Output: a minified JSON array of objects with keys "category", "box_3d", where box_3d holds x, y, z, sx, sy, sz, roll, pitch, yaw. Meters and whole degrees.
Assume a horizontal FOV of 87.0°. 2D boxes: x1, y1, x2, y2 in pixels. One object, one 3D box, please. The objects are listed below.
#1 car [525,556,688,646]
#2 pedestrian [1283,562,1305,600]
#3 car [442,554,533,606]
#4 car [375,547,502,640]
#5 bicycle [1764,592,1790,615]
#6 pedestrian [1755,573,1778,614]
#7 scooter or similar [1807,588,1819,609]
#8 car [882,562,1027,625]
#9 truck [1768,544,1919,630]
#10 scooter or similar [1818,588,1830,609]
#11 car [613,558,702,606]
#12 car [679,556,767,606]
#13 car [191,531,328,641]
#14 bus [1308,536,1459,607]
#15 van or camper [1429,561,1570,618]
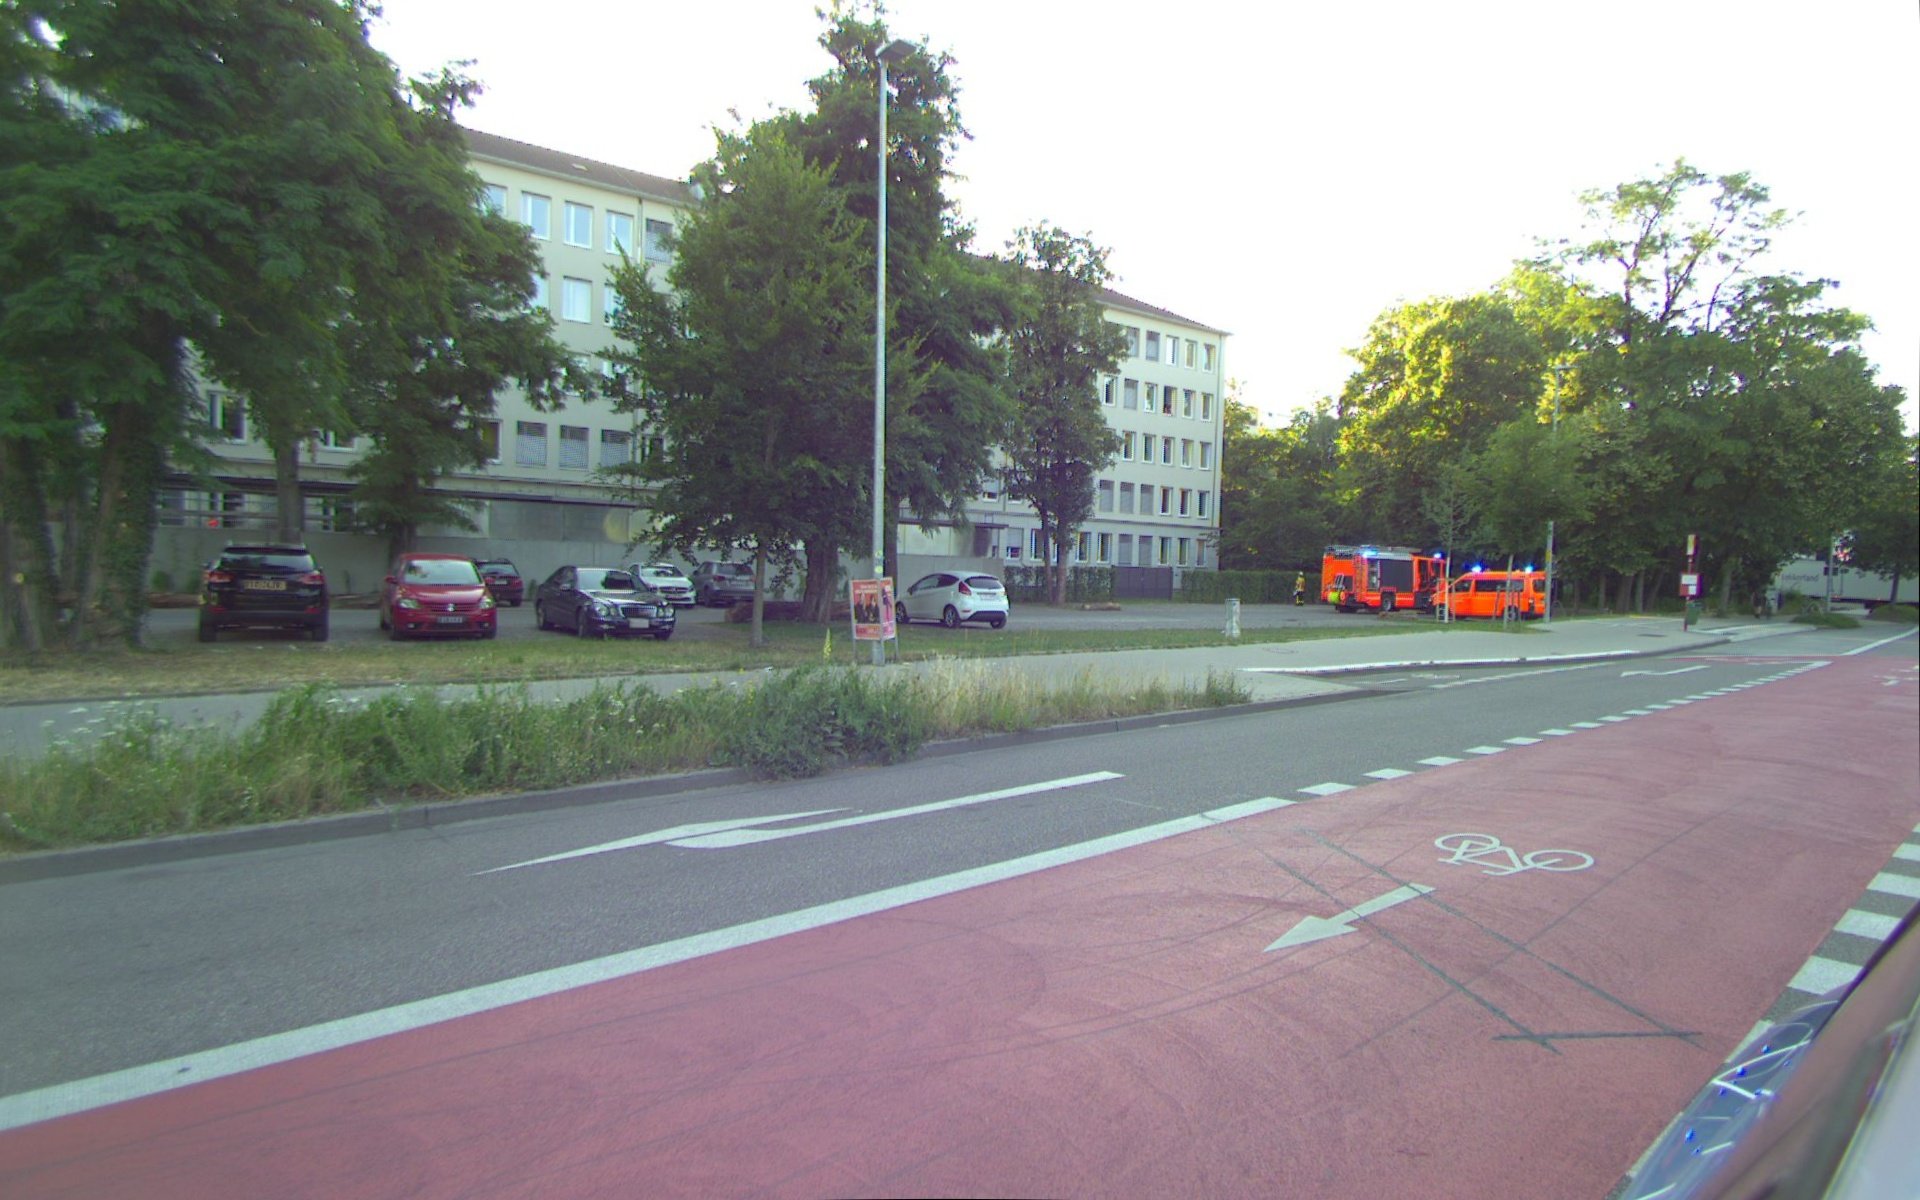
[{"category":"car","box_3d":[-7.444,-0.085,21.015,1.866,1.465,4.584,-2,6,-37]},{"category":"pedestrian","box_3d":[18.386,-1.041,55.728,0.810,2.038,0.774,1,2,-32]},{"category":"car","box_3d":[-14.461,-0.630,30.877,1.866,1.460,4.001,0,2,-35]},{"category":"car","box_3d":[-10.153,-0.195,19.555,1.751,1.580,4.003,0,2,-34]},{"category":"bicycle","box_3d":[41.359,0.150,51.241,0.828,1.111,1.944,3,2,35]},{"category":"pedestrian","box_3d":[41.126,-0.334,51.613,0.719,2.038,0.688,2,2,30]},{"category":"scooter or similar","box_3d":[53.303,-0.093,63.204,0.482,1.297,1.213,5,3,40]},{"category":"car","box_3d":[-0.221,-0.222,27.055,1.876,1.556,3.999,0,2,-37]},{"category":"truck","box_3d":[65.134,-0.937,69.662,5.053,5.642,15.115,1,2,-9]},{"category":"scooter or similar","box_3d":[54.818,-0.078,64.207,0.482,1.297,1.123,5,3,41]},{"category":"car","box_3d":[-10.141,-0.626,33.733,1.798,1.494,4.002,0,1,-33]},{"category":"car","box_3d":[-8.351,-0.691,35.429,1.875,1.636,4.004,-1,2,-32]},{"category":"car","box_3d":[-12.397,-0.281,17.897,1.802,1.715,3.910,0,1,-36]},{"category":"bus","box_3d":[20.795,-1.327,49.537,7.810,3.236,2.999,0,1,-34]},{"category":"van or camper","box_3d":[23.028,-0.493,43.390,2.251,2.272,4.831,0,1,-34]}]
